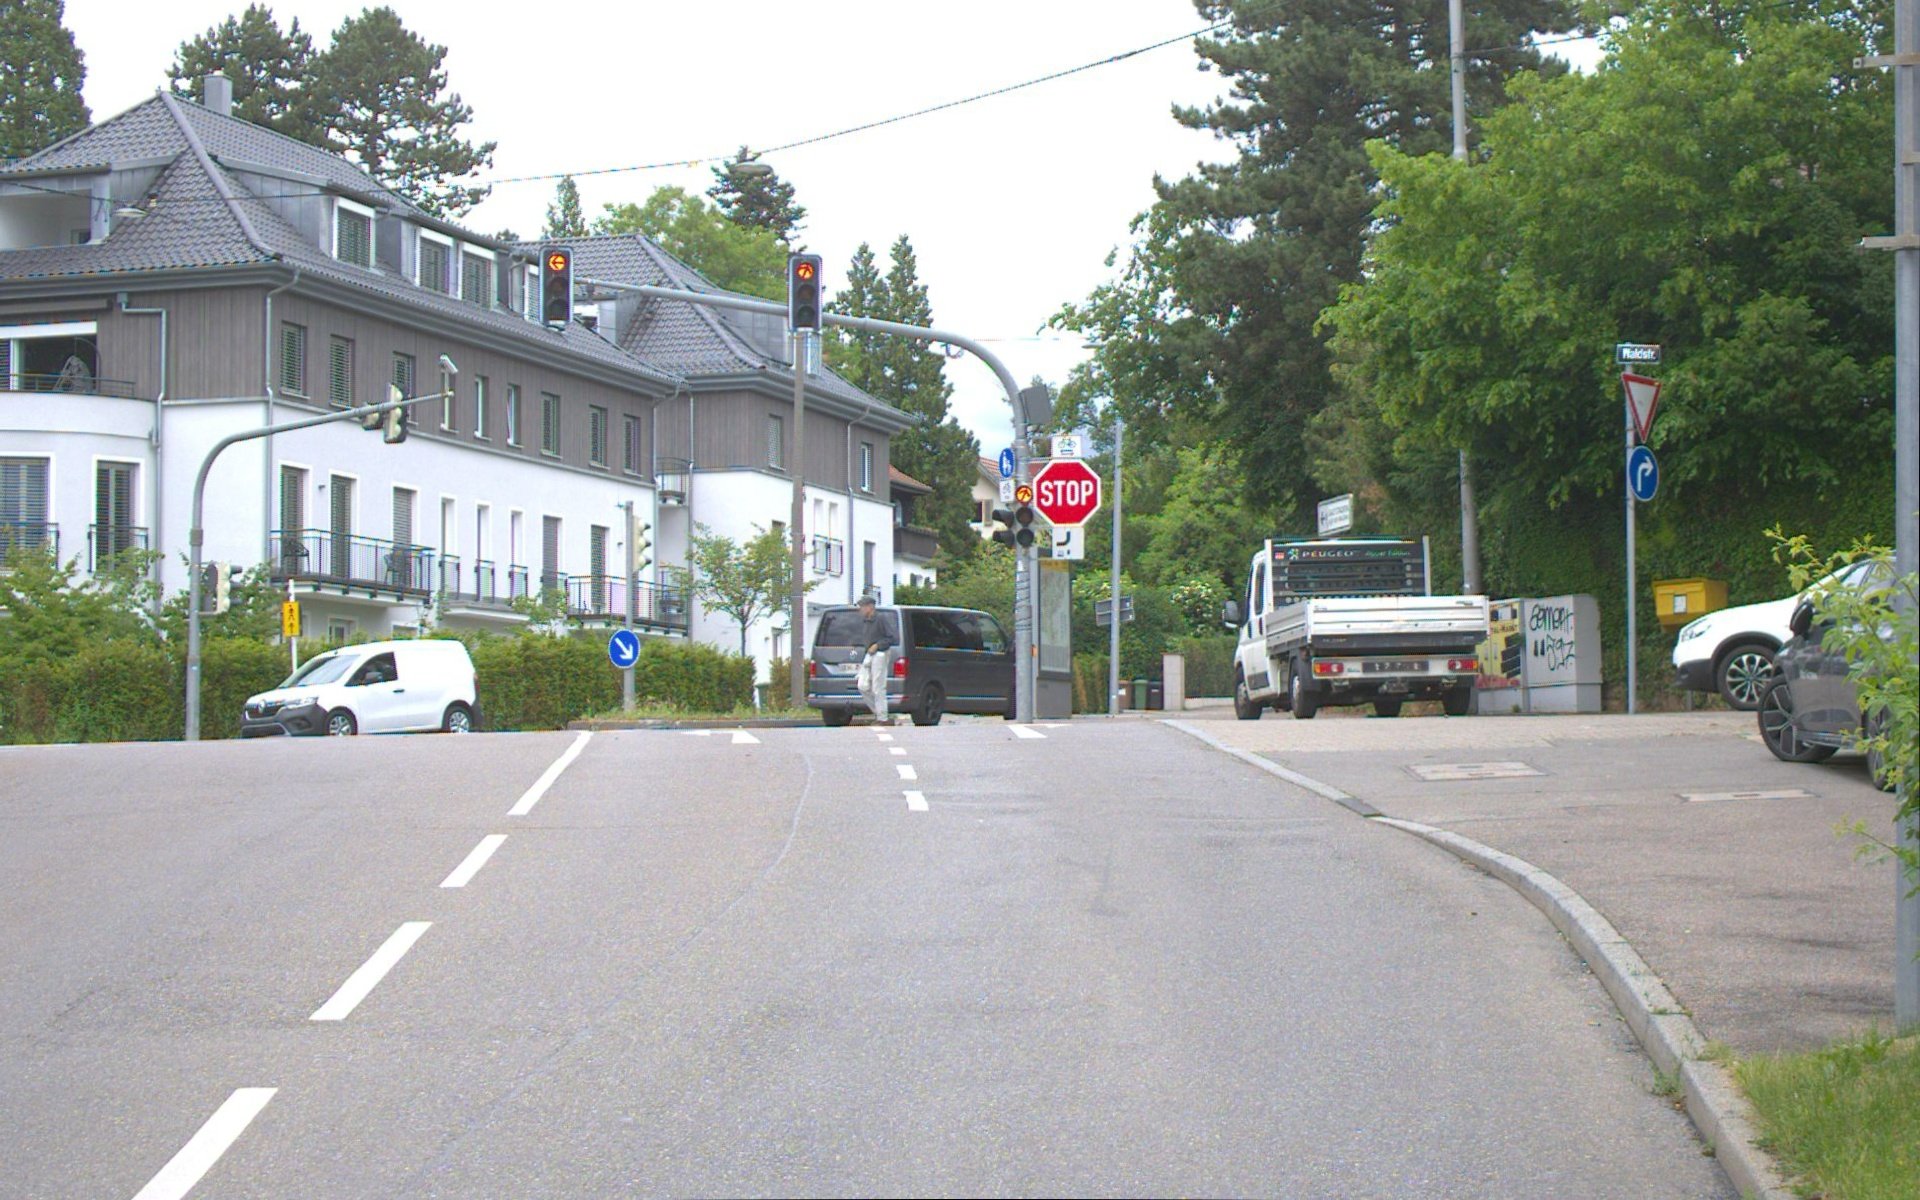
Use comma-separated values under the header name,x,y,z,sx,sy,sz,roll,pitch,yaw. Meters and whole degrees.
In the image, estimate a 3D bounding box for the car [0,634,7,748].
name,x,y,z,sx,sy,sz,roll,pitch,yaw
car,-13.900,1.109,42.266,3.986,1.378,1.937,0,1,-23

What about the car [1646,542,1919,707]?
name,x,y,z,sx,sy,sz,roll,pitch,yaw
car,9.286,0.270,35.061,4.244,1.588,1.986,-1,-3,19

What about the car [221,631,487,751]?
name,x,y,z,sx,sy,sz,roll,pitch,yaw
car,-10.231,1.504,58.283,1.997,1.850,4.345,1,1,33

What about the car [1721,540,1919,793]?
name,x,y,z,sx,sy,sz,roll,pitch,yaw
car,6.354,0.342,22.277,1.848,1.467,4.386,-3,0,1

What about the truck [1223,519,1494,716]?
name,x,y,z,sx,sy,sz,roll,pitch,yaw
truck,4.735,0.294,41.813,2.183,2.188,5.882,0,-2,-4

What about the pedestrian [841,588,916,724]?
name,x,y,z,sx,sy,sz,roll,pitch,yaw
pedestrian,-1.022,0.689,43.053,0.698,1.676,0.686,-1,1,-29

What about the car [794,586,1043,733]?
name,x,y,z,sx,sy,sz,roll,pitch,yaw
car,-0.611,0.922,55.448,1.997,2.006,4.503,-1,3,29
